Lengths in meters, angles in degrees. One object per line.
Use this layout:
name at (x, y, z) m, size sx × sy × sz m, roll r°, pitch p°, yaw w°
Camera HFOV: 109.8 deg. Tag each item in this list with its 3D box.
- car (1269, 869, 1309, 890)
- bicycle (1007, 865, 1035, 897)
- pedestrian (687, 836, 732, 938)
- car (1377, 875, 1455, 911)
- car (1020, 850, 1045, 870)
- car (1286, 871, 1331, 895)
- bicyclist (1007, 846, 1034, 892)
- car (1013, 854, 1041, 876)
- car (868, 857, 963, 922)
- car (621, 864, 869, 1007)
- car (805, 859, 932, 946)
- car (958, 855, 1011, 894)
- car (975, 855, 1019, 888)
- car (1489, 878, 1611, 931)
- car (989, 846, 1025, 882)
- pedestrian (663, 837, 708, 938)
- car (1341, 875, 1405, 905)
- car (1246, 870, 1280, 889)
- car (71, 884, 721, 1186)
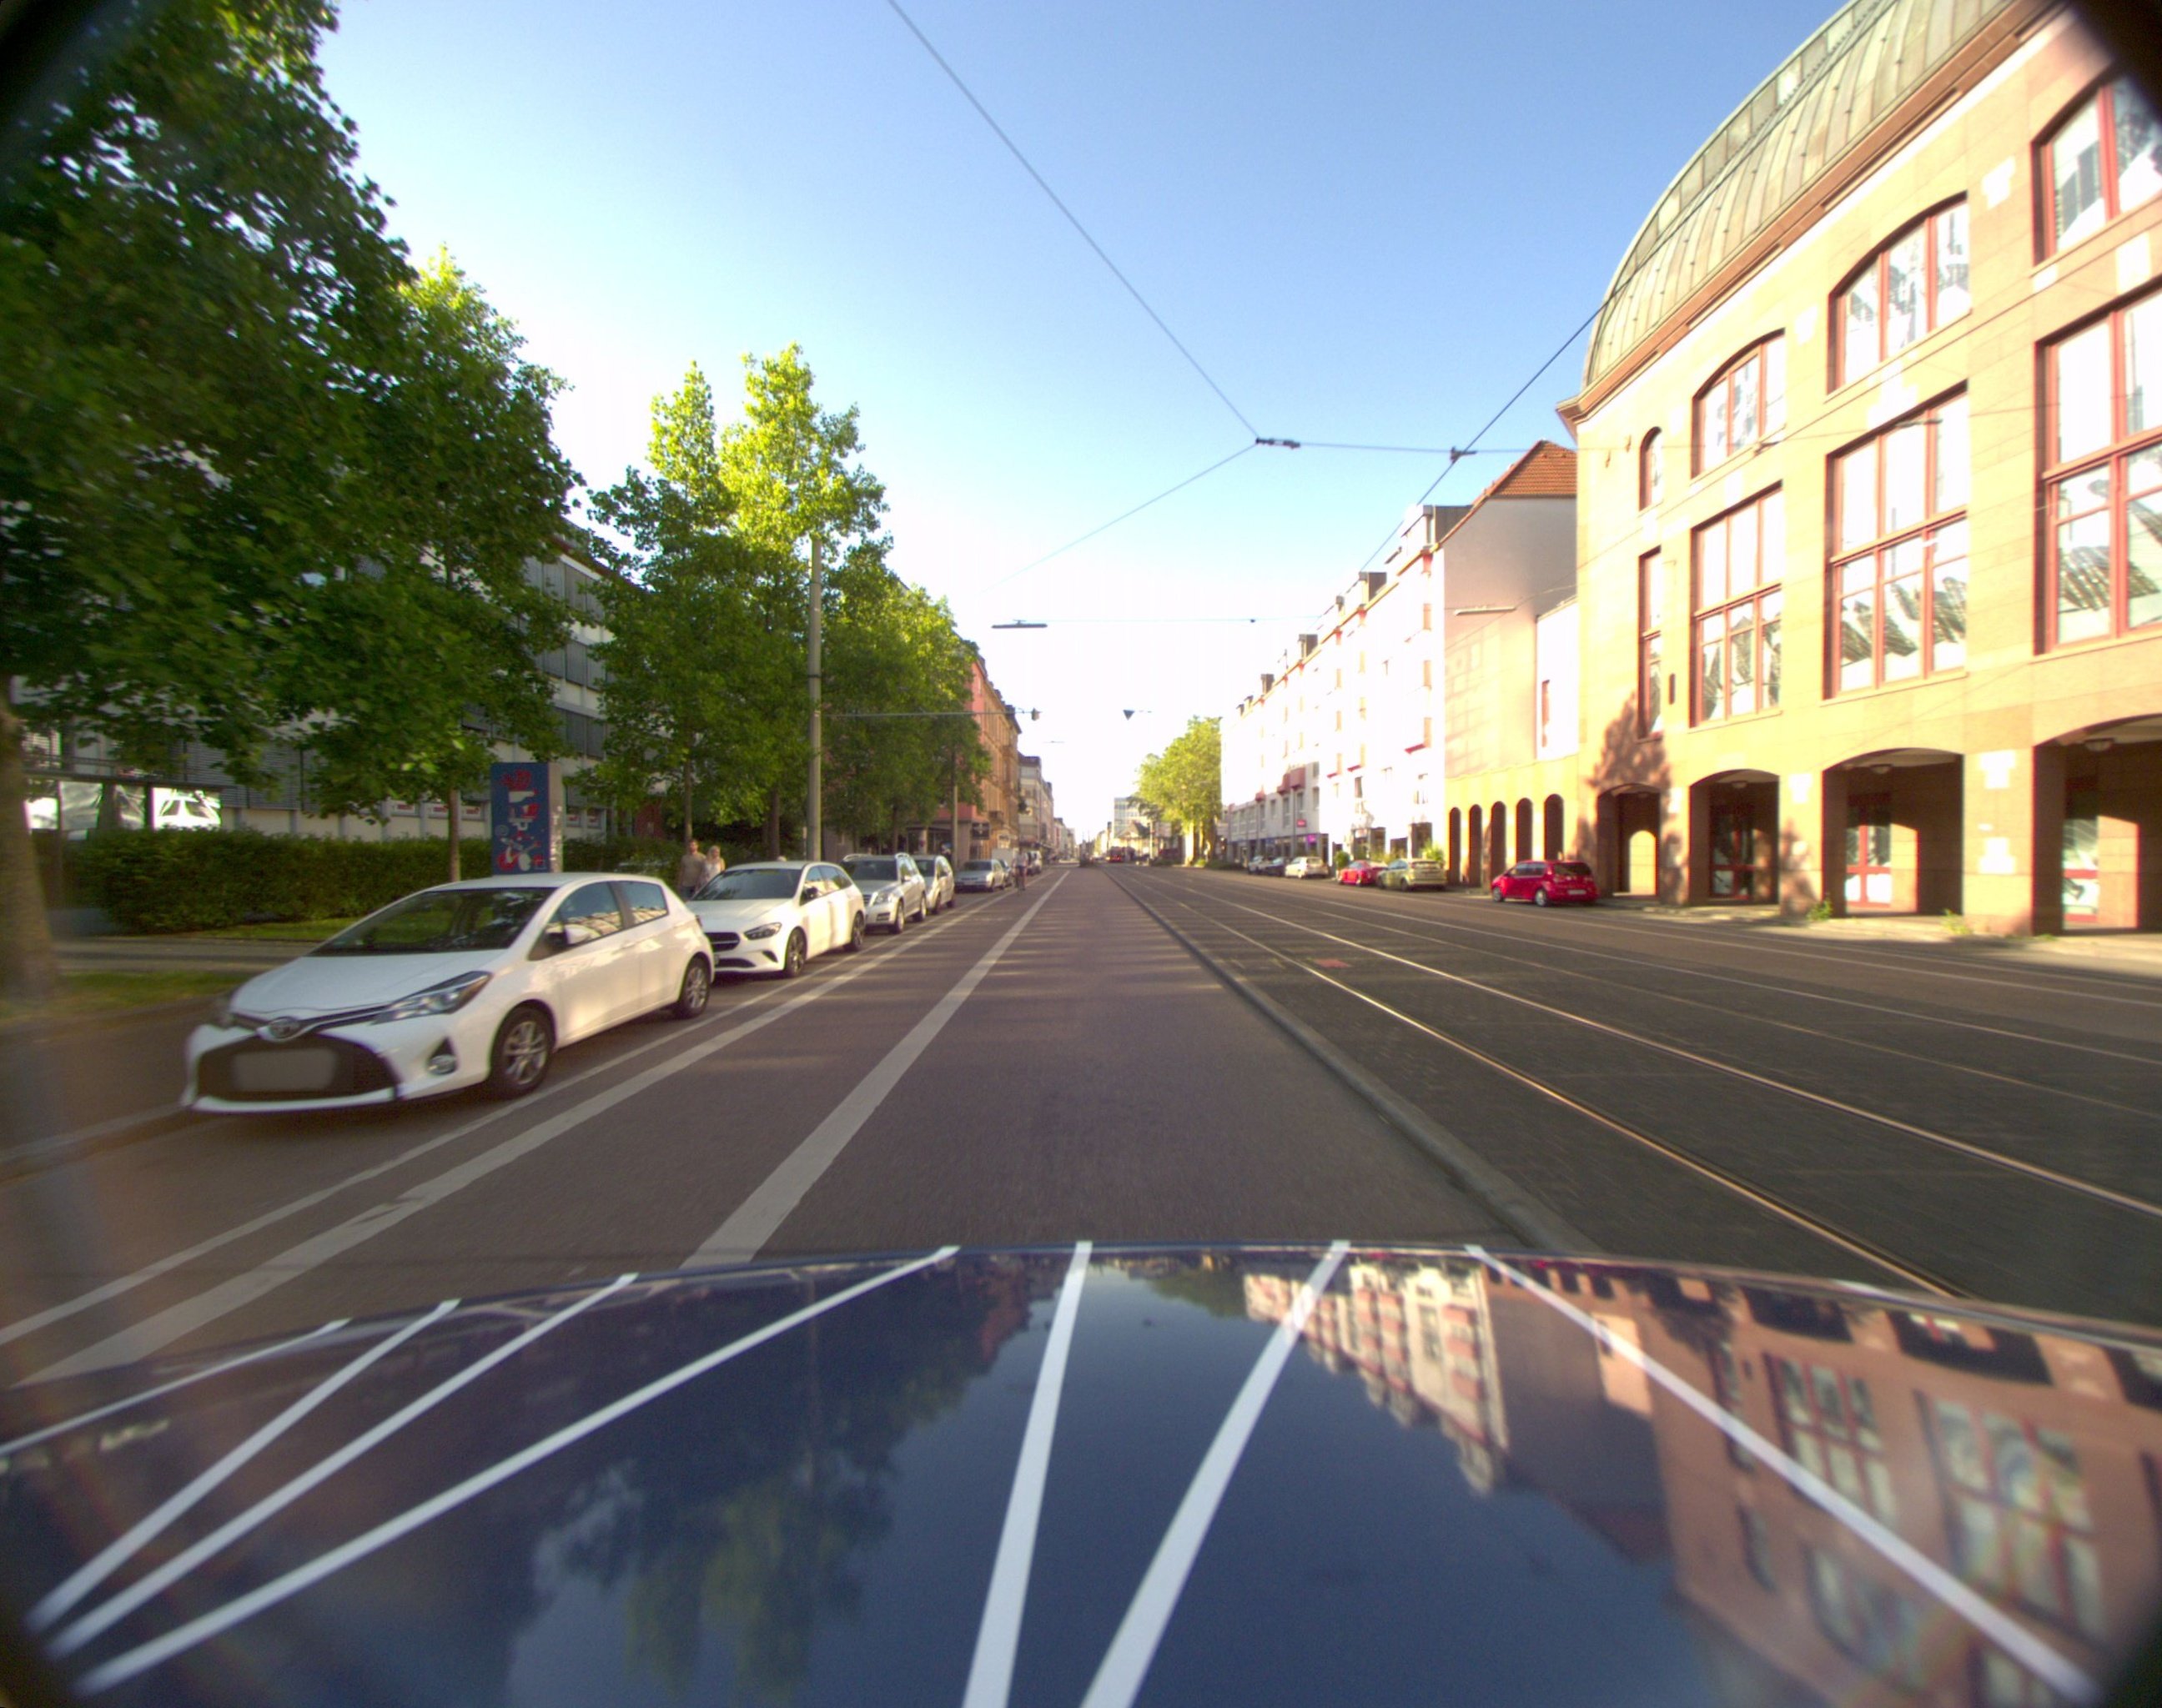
car at (15.128, 1.832, 55.359) m, size 1.856 × 1.445 × 3.853 m, roll -1°, pitch 0°, yaw 1°
bicycle at (-2.332, 1.034, 29.835) m, size 0.889 × 1.155 × 2.078 m, roll -2°, pitch 1°, yaw 1°
pedestrian at (-7.471, 0.642, 15.303) m, size 0.508 × 2.002 × 0.574 m, roll -2°, pitch 1°, yaw 1°
car at (14.985, 1.706, 34.219) m, size 1.856 × 1.445 × 3.853 m, roll -1°, pitch 0°, yaw 1°
car at (-3.991, 0.500, 63.489) m, size 1.733 × 1.474 × 4.115 m, roll -2°, pitch 1°, yaw 0°
car at (15.064, 1.873, 50.523) m, size 1.856 × 1.445 × 3.853 m, roll -1°, pitch 0°, yaw 1°
bicyclist at (-2.345, 0.567, 29.682) m, size 0.895 × 1.755 × 1.030 m, roll -2°, pitch 1°, yaw 1°
car at (-4.041, 0.771, 57.455) m, size 1.733 × 1.474 × 4.252 m, roll -2°, pitch 1°, yaw 0°
car at (-4.600, 0.926, 21.673) m, size 1.733 × 1.542 × 4.115 m, roll -2°, pitch 1°, yaw 0°
car at (-4.609, 1.009, 11.174) m, size 1.733 × 1.568 × 4.115 m, roll -2°, pitch 0°, yaw 0°
car at (-4.528, 0.946, 16.818) m, size 1.733 × 1.586 × 4.114 m, roll -2°, pitch 0°, yaw -2°
car at (-4.208, 0.869, 33.762) m, size 1.733 × 1.474 × 4.115 m, roll -2°, pitch 1°, yaw 0°
car at (-4.268, 0.864, 39.077) m, size 1.733 × 1.474 × 4.115 m, roll -2°, pitch 1°, yaw 0°
car at (15.024, 1.572, 24.558) m, size 1.753 × 1.445 × 3.471 m, roll -1°, pitch 0°, yaw -1°
car at (-4.571, 0.571, 47.500) m, size 1.733 × 2.038 × 4.115 m, roll -2°, pitch 1°, yaw 0°
pedestrian at (-8.015, 0.670, 15.429) m, size 0.508 × 2.002 × 0.574 m, roll -2°, pitch 1°, yaw 1°
car at (14.956, 1.817, 39.150) m, size 1.856 × 1.346 × 3.853 m, roll -1°, pitch 0°, yaw 1°
car at (15.023, 2.069, 62.893) m, size 1.856 × 1.445 × 3.853 m, roll -1°, pitch 0°, yaw 1°
car at (-4.676, 1.069, 6.118) m, size 1.733 × 1.474 × 3.864 m, roll -2°, pitch 0°, yaw -1°
